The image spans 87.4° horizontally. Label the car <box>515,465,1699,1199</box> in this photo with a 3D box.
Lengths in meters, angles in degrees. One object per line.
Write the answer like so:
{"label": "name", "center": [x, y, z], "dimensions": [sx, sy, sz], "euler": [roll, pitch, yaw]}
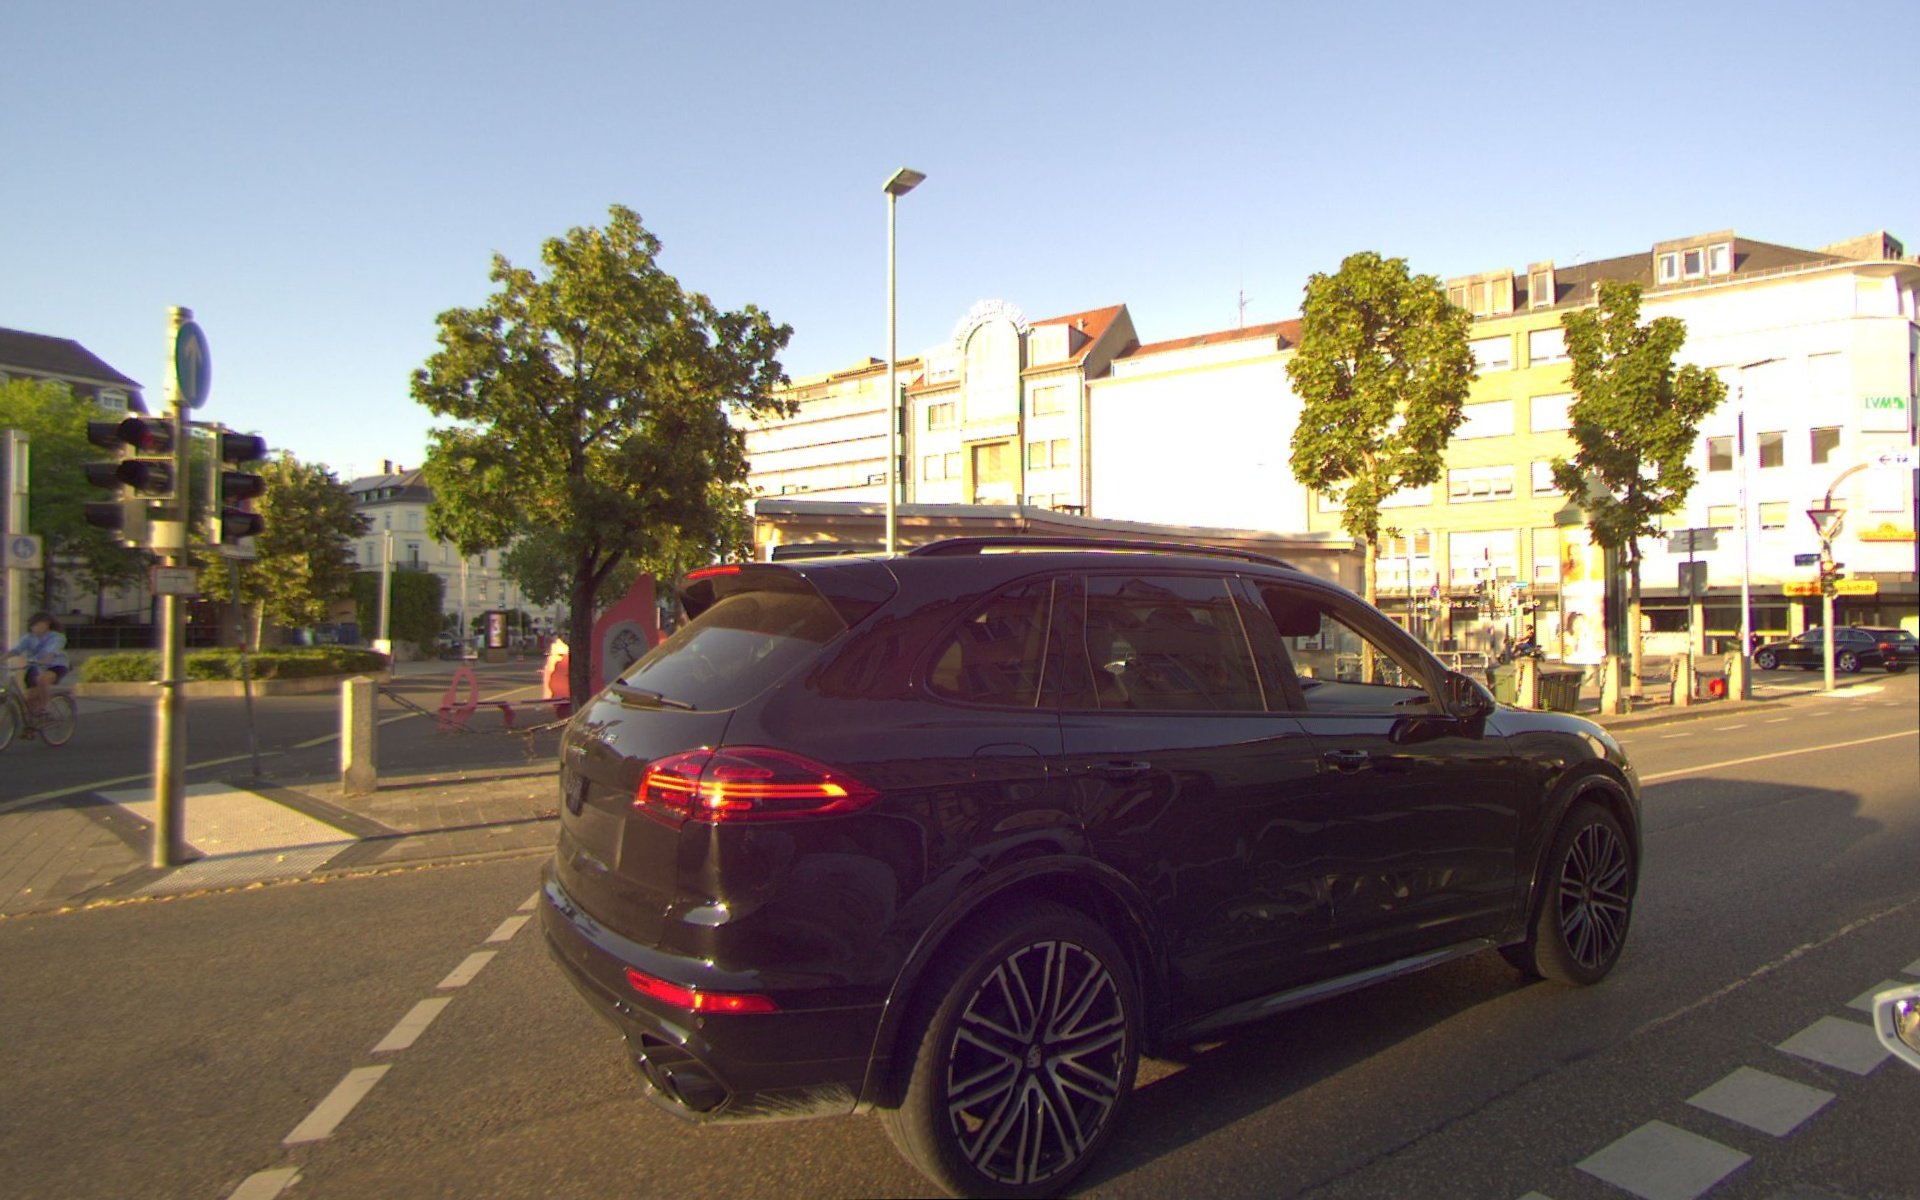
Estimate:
{"label": "car", "center": [0.830, 0.662, 3.979], "dimensions": [4.513, 1.736, 1.937], "euler": [0, -2, -34]}

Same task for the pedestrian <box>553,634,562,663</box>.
{"label": "pedestrian", "center": [-27.753, 3.340, 69.201], "dimensions": [0.564, 2.040, 0.393], "euler": [0, -1, -22]}

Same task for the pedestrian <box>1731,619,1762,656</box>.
{"label": "pedestrian", "center": [33.841, 1.603, 43.225], "dimensions": [0.933, 1.557, 0.906], "euler": [-1, -2, 33]}

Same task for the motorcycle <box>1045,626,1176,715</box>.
{"label": "motorcycle", "center": [2.598, 1.207, 17.742], "dimensions": [0.858, 1.448, 2.568], "euler": [1, -2, -31]}

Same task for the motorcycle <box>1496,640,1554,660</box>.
{"label": "motorcycle", "center": [23.331, 2.053, 41.495], "dimensions": [2.000, 0.791, 0.661], "euler": [-1, -1, 36]}

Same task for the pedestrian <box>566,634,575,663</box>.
{"label": "pedestrian", "center": [-27.141, 3.363, 70.006], "dimensions": [0.564, 2.040, 0.393], "euler": [0, -1, -22]}

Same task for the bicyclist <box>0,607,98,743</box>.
{"label": "bicyclist", "center": [-12.207, 0.972, 13.370], "dimensions": [0.842, 1.747, 0.776], "euler": [0, -2, -17]}

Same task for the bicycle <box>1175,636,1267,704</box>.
{"label": "bicycle", "center": [5.114, 1.356, 19.809], "dimensions": [0.625, 1.273, 1.844], "euler": [1, -2, -31]}

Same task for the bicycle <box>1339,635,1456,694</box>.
{"label": "bicycle", "center": [9.954, 1.440, 22.970], "dimensions": [0.778, 1.273, 2.431], "euler": [1, -2, -31]}

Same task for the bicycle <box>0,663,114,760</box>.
{"label": "bicycle", "center": [-12.189, 1.441, 13.346], "dimensions": [0.693, 1.132, 1.915], "euler": [0, -2, -15]}

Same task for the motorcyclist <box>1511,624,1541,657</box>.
{"label": "motorcyclist", "center": [23.382, 1.679, 41.496], "dimensions": [0.978, 1.337, 0.765], "euler": [-1, -1, 35]}

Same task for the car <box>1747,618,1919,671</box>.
{"label": "car", "center": [28.843, 1.423, 33.145], "dimensions": [1.845, 1.616, 4.442], "euler": [0, -1, -10]}

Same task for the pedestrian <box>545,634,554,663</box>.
{"label": "pedestrian", "center": [-28.330, 3.335, 69.325], "dimensions": [0.564, 2.040, 0.393], "euler": [0, -1, -22]}

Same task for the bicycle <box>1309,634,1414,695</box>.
{"label": "bicycle", "center": [8.918, 1.411, 22.395], "dimensions": [0.939, 1.273, 1.996], "euler": [1, -2, -31]}
